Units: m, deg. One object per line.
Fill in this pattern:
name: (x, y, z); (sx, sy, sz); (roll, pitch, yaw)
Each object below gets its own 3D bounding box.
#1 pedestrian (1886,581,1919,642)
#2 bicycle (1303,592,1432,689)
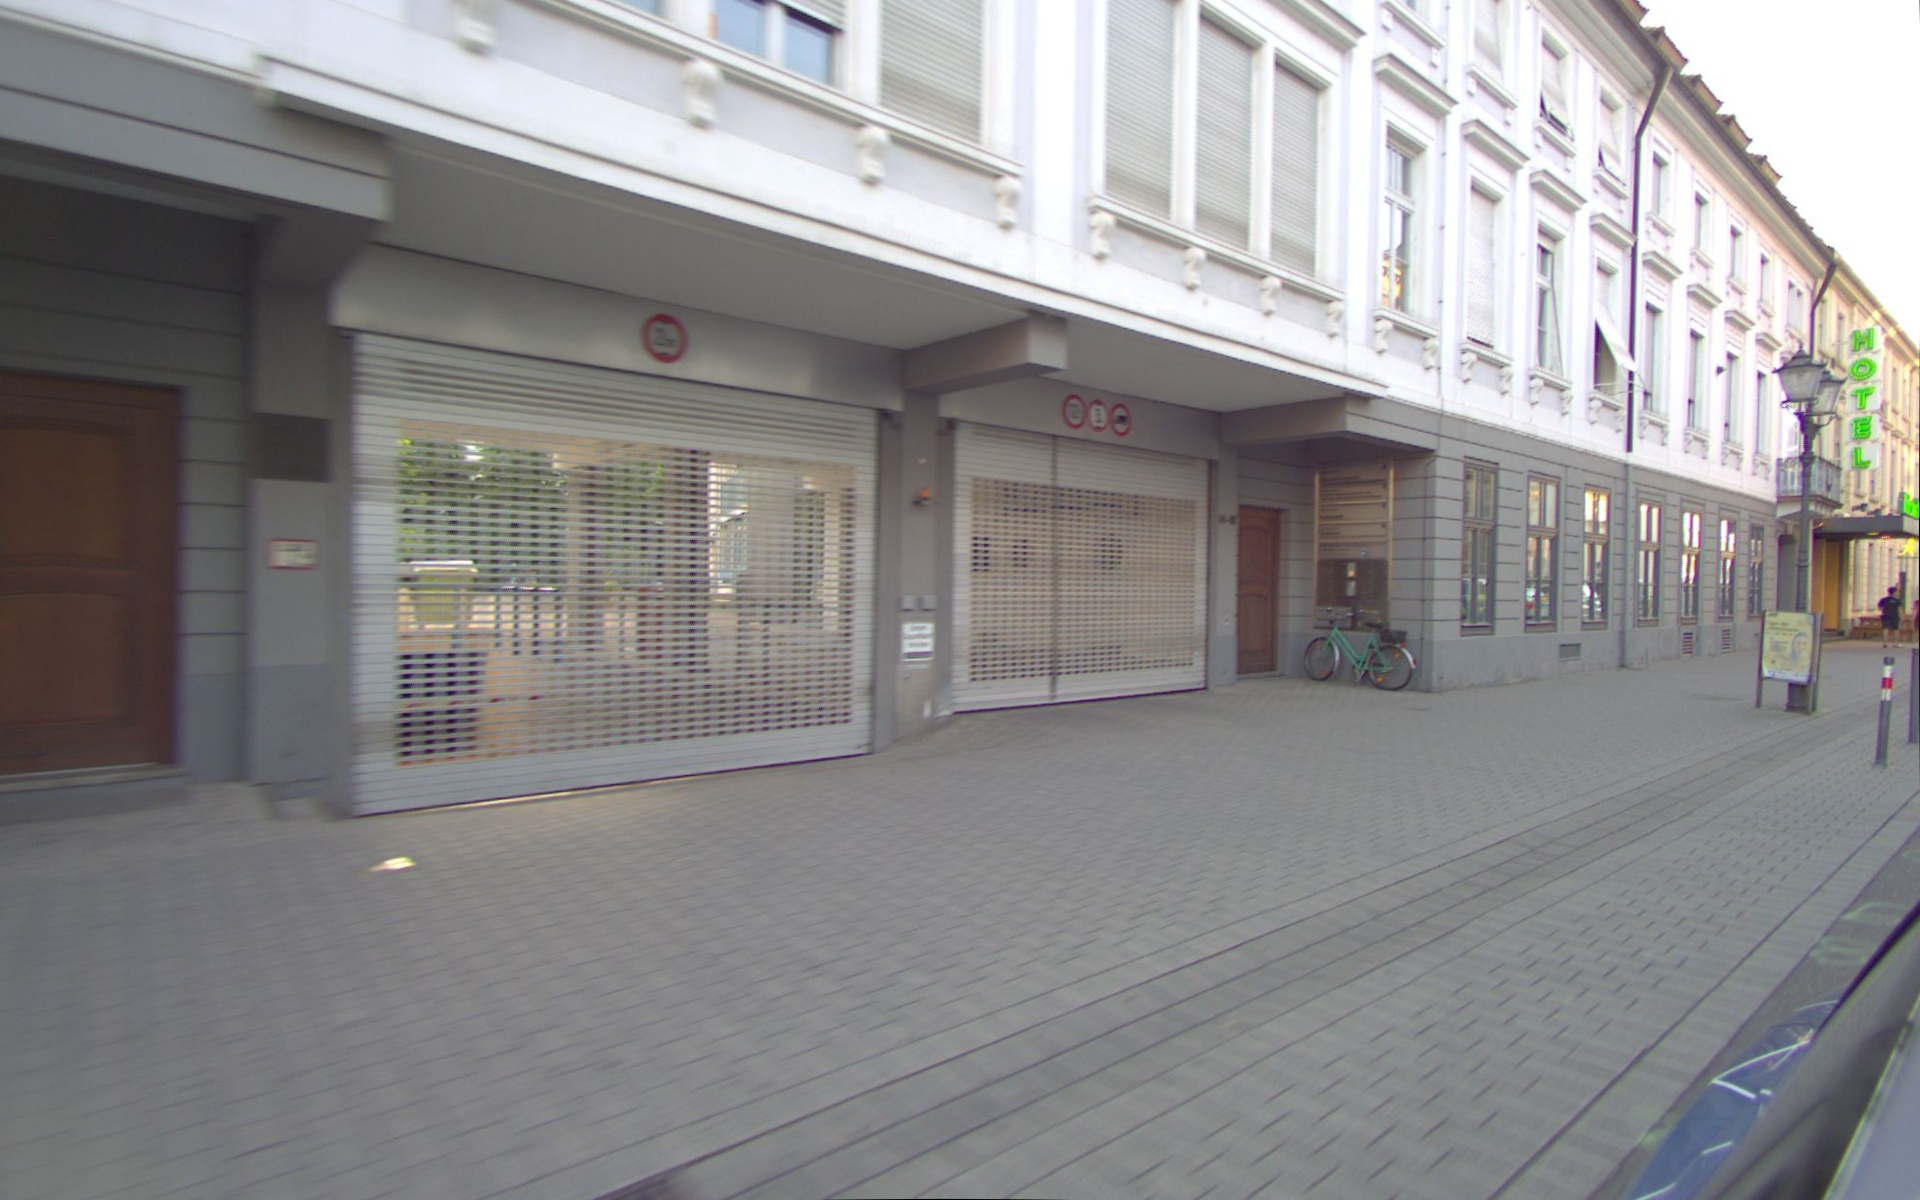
pedestrian: (27.782, 0.325, 29.728); (0.857, 1.751, 0.715); (0, 1, -38)
bicycle: (5.723, 0.537, 14.299); (0.431, 1.268, 1.659); (0, 1, -42)
